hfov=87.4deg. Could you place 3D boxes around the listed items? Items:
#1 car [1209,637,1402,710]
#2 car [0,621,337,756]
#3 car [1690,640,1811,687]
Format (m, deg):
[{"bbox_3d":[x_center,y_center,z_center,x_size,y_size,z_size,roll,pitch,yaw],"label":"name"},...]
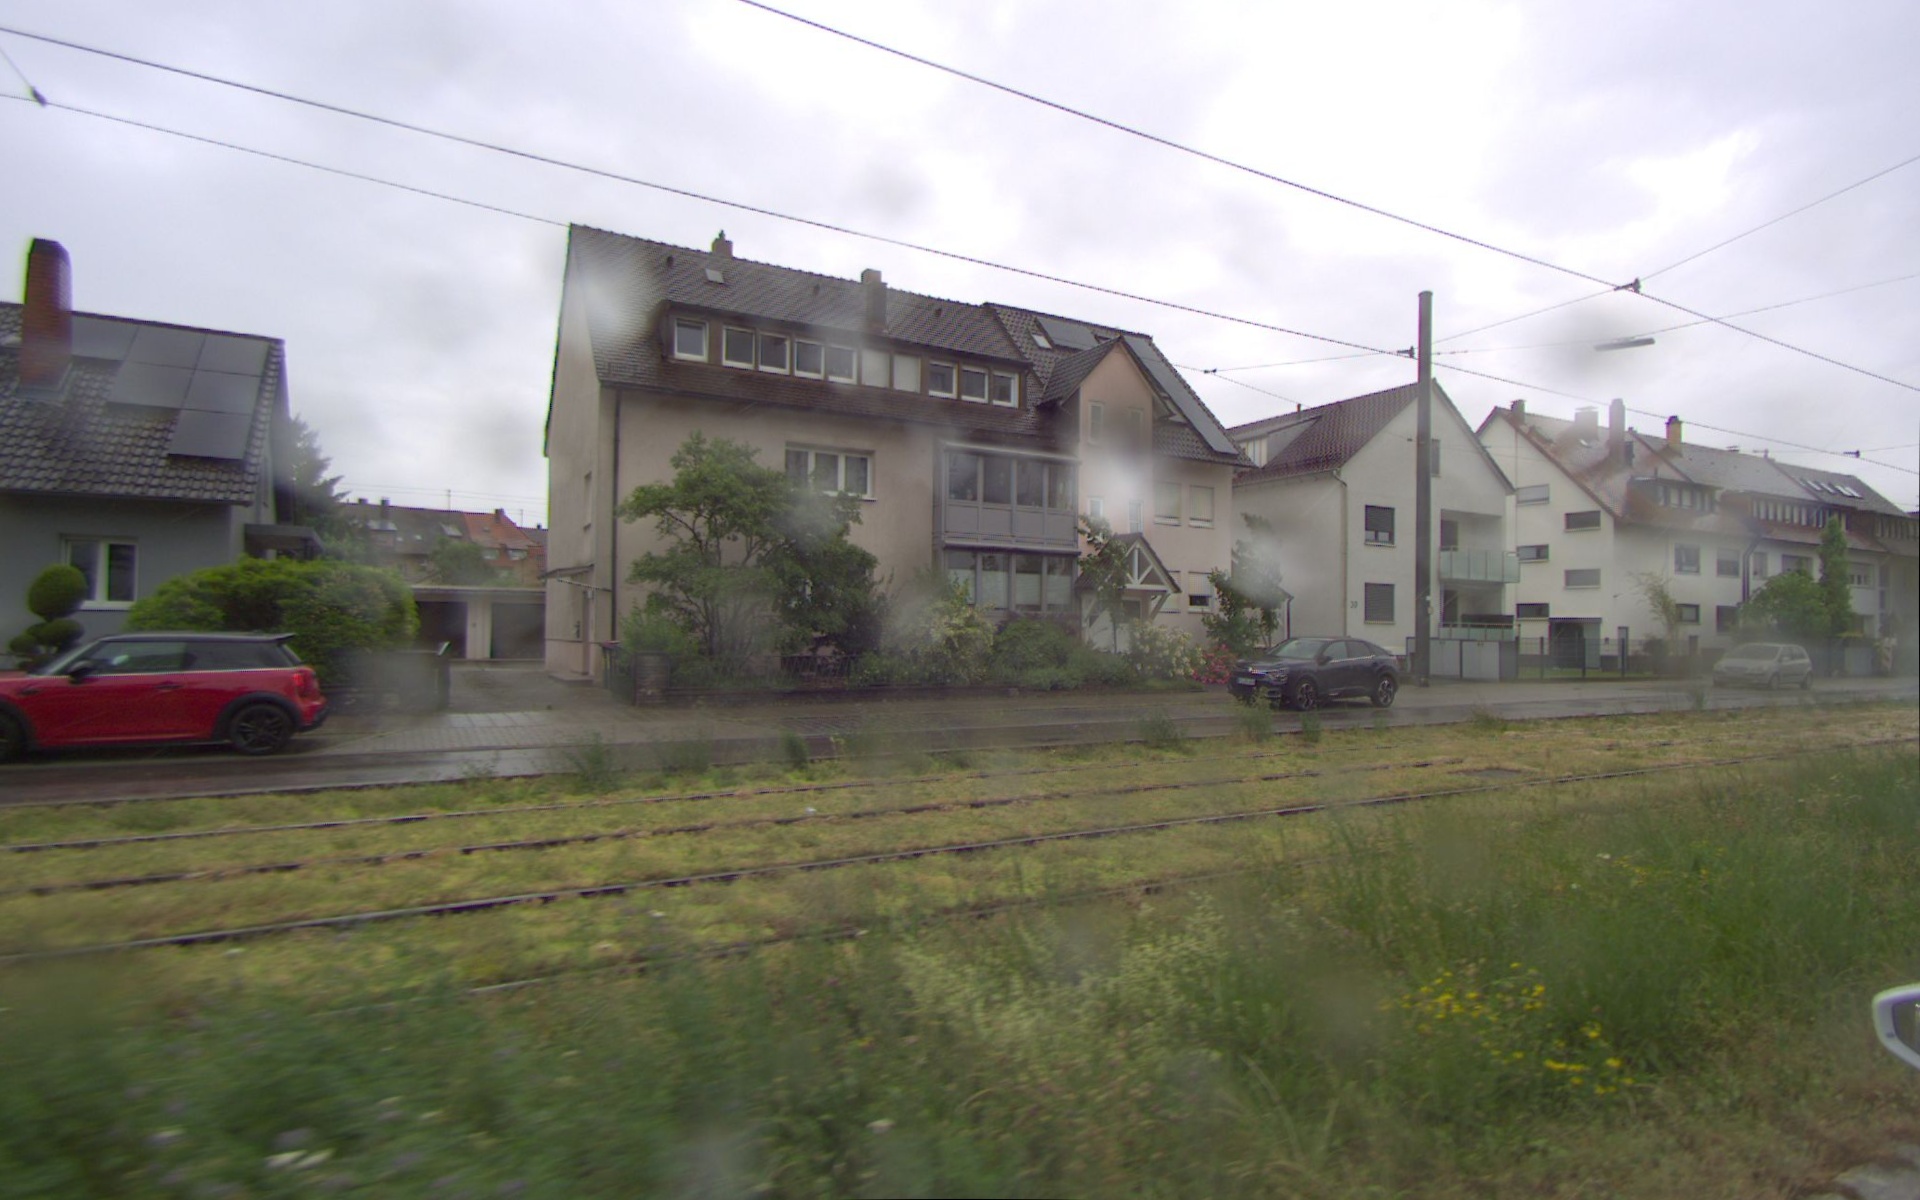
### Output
[{"bbox_3d":[7.686,1.610,22.264,4.127,1.445,1.827,3,-1,-31],"label":"car"},{"bbox_3d":[-9.808,1.019,12.103,3.800,1.391,1.984,3,-1,-31],"label":"car"},{"bbox_3d":[26.248,2.107,33.342,3.616,1.432,1.984,3,-1,-31],"label":"car"}]
